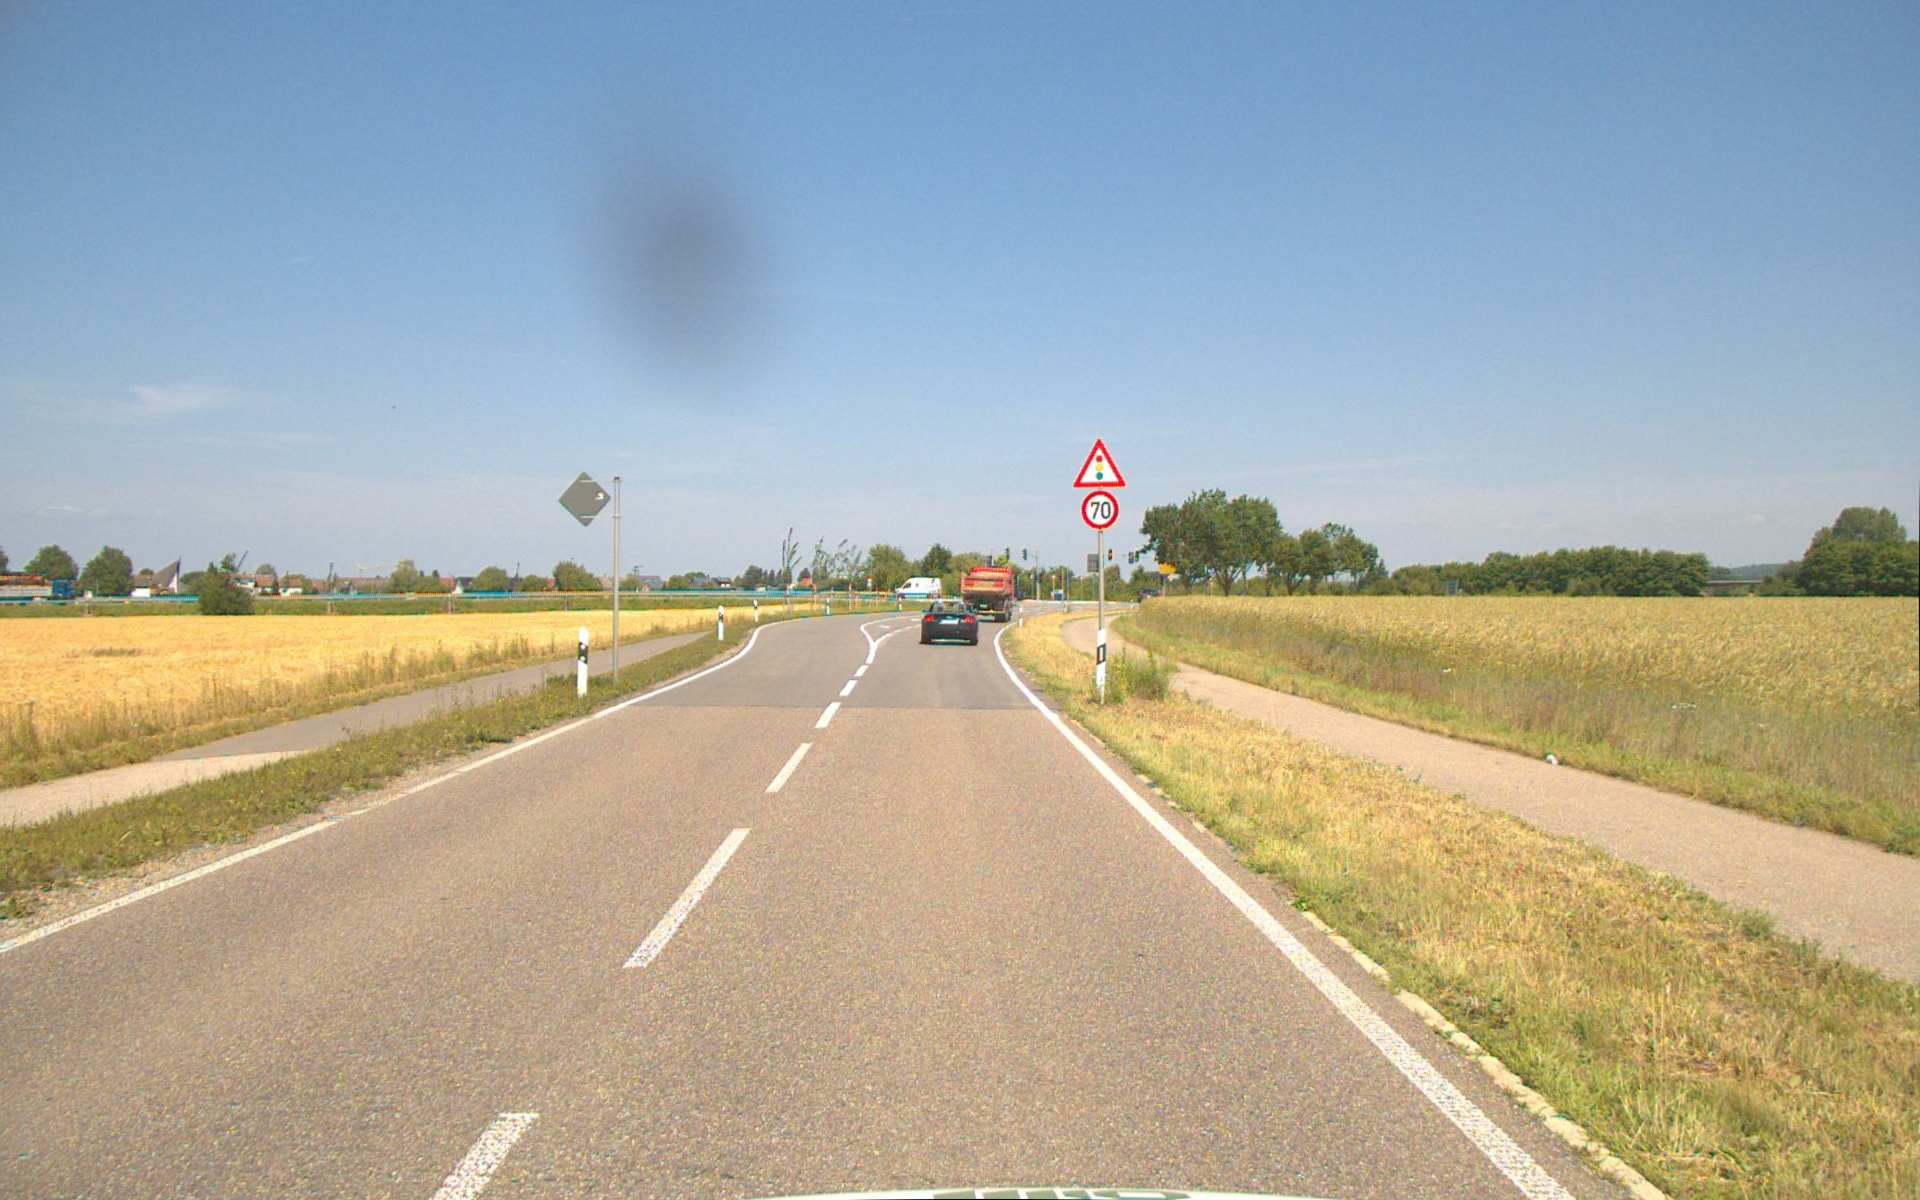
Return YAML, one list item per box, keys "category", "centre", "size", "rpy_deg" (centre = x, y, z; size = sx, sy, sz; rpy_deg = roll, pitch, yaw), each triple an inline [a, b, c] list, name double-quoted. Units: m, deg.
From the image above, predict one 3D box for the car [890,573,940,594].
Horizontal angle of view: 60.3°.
- category: "car"
  centre: [-5.512, -2.048, 204.376]
  size: [5.791, 2.464, 2.250]
  rpy_deg: [1, 1, 14]

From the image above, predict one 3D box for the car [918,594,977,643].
- category: "car"
  centre: [-0.419, 0.561, 51.024]
  size: [1.712, 1.400, 3.678]
  rpy_deg: [2, -1, -1]

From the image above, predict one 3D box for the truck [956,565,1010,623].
- category: "truck"
  centre: [1.399, -0.288, 94.066]
  size: [2.657, 3.106, 8.167]
  rpy_deg: [1, -1, 3]

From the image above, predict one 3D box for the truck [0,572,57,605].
- category: "truck"
  centre: [-113.010, -1.348, 196.313]
  size: [9.904, 3.859, 2.618]
  rpy_deg: [1, 0, -13]
